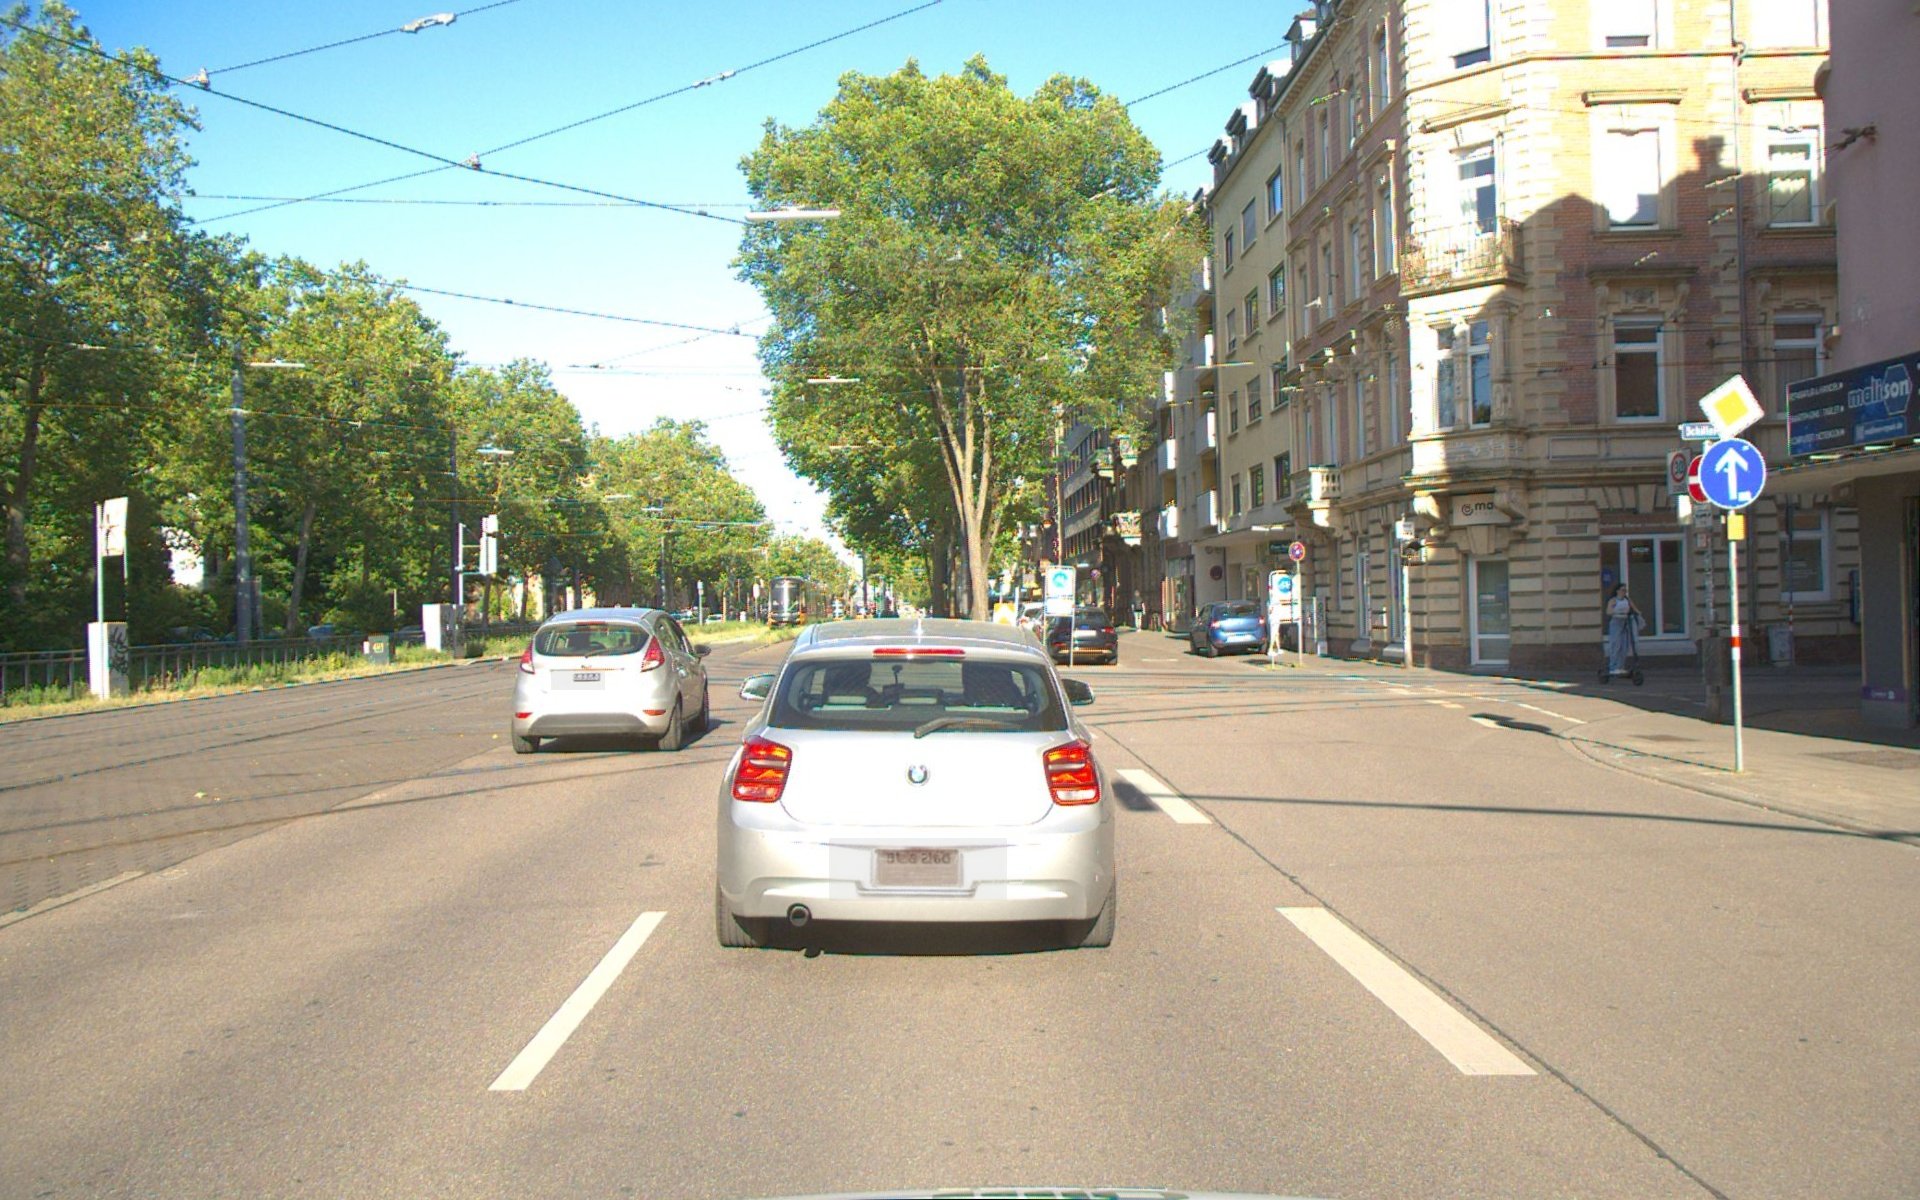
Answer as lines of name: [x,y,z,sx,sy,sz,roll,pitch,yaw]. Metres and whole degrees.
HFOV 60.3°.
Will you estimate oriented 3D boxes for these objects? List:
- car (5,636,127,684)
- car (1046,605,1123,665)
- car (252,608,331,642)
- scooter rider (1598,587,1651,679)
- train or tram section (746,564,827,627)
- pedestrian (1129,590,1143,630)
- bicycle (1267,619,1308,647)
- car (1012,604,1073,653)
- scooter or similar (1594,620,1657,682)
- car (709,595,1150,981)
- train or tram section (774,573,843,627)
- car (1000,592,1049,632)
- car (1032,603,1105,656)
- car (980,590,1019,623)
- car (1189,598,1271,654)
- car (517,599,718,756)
car: [-30.259,1.997,56.127,1.897,1.536,4.277,-1,-1,-2]
car: [3.116,0.847,41.874,1.700,1.458,3.678,0,0,0]
car: [-31.509,1.205,78.096,1.897,1.536,4.847,-1,-1,-2]
scooter rider: [11.246,0.546,28.004,0.457,1.531,0.809,-1,0,-11]
train or tram section: [-11.707,-0.248,113.747,3.888,3.933,17.485,-1,0,-1]
pedestrian: [8.187,0.459,76.930,0.495,1.833,0.805,-1,0,-1]
bicycle: [9.548,0.954,48.218,0.739,0.784,1.944,-1,0,-2]
car: [2.621,0.891,53.147,1.690,1.533,3.553,0,0,-2]
scooter or similar: [11.256,0.847,28.006,0.331,1.005,1.280,-1,0,-12]
car: [-0.140,0.735,8.442,1.704,1.493,3.999,0,0,-1]
train or tram section: [-11.824,0.011,131.200,3.924,3.933,17.485,-1,0,-1]
car: [2.541,0.460,65.838,1.690,1.533,3.553,0,0,-2]
car: [3.029,0.805,46.732,1.708,1.458,3.553,0,0,-2]
car: [1.853,0.290,78.481,1.690,1.533,3.553,0,0,-2]
car: [7.785,0.730,48.001,1.700,1.546,3.635,0,0,-1]
car: [-3.610,0.754,18.020,1.577,1.493,3.887,-1,0,-4]
